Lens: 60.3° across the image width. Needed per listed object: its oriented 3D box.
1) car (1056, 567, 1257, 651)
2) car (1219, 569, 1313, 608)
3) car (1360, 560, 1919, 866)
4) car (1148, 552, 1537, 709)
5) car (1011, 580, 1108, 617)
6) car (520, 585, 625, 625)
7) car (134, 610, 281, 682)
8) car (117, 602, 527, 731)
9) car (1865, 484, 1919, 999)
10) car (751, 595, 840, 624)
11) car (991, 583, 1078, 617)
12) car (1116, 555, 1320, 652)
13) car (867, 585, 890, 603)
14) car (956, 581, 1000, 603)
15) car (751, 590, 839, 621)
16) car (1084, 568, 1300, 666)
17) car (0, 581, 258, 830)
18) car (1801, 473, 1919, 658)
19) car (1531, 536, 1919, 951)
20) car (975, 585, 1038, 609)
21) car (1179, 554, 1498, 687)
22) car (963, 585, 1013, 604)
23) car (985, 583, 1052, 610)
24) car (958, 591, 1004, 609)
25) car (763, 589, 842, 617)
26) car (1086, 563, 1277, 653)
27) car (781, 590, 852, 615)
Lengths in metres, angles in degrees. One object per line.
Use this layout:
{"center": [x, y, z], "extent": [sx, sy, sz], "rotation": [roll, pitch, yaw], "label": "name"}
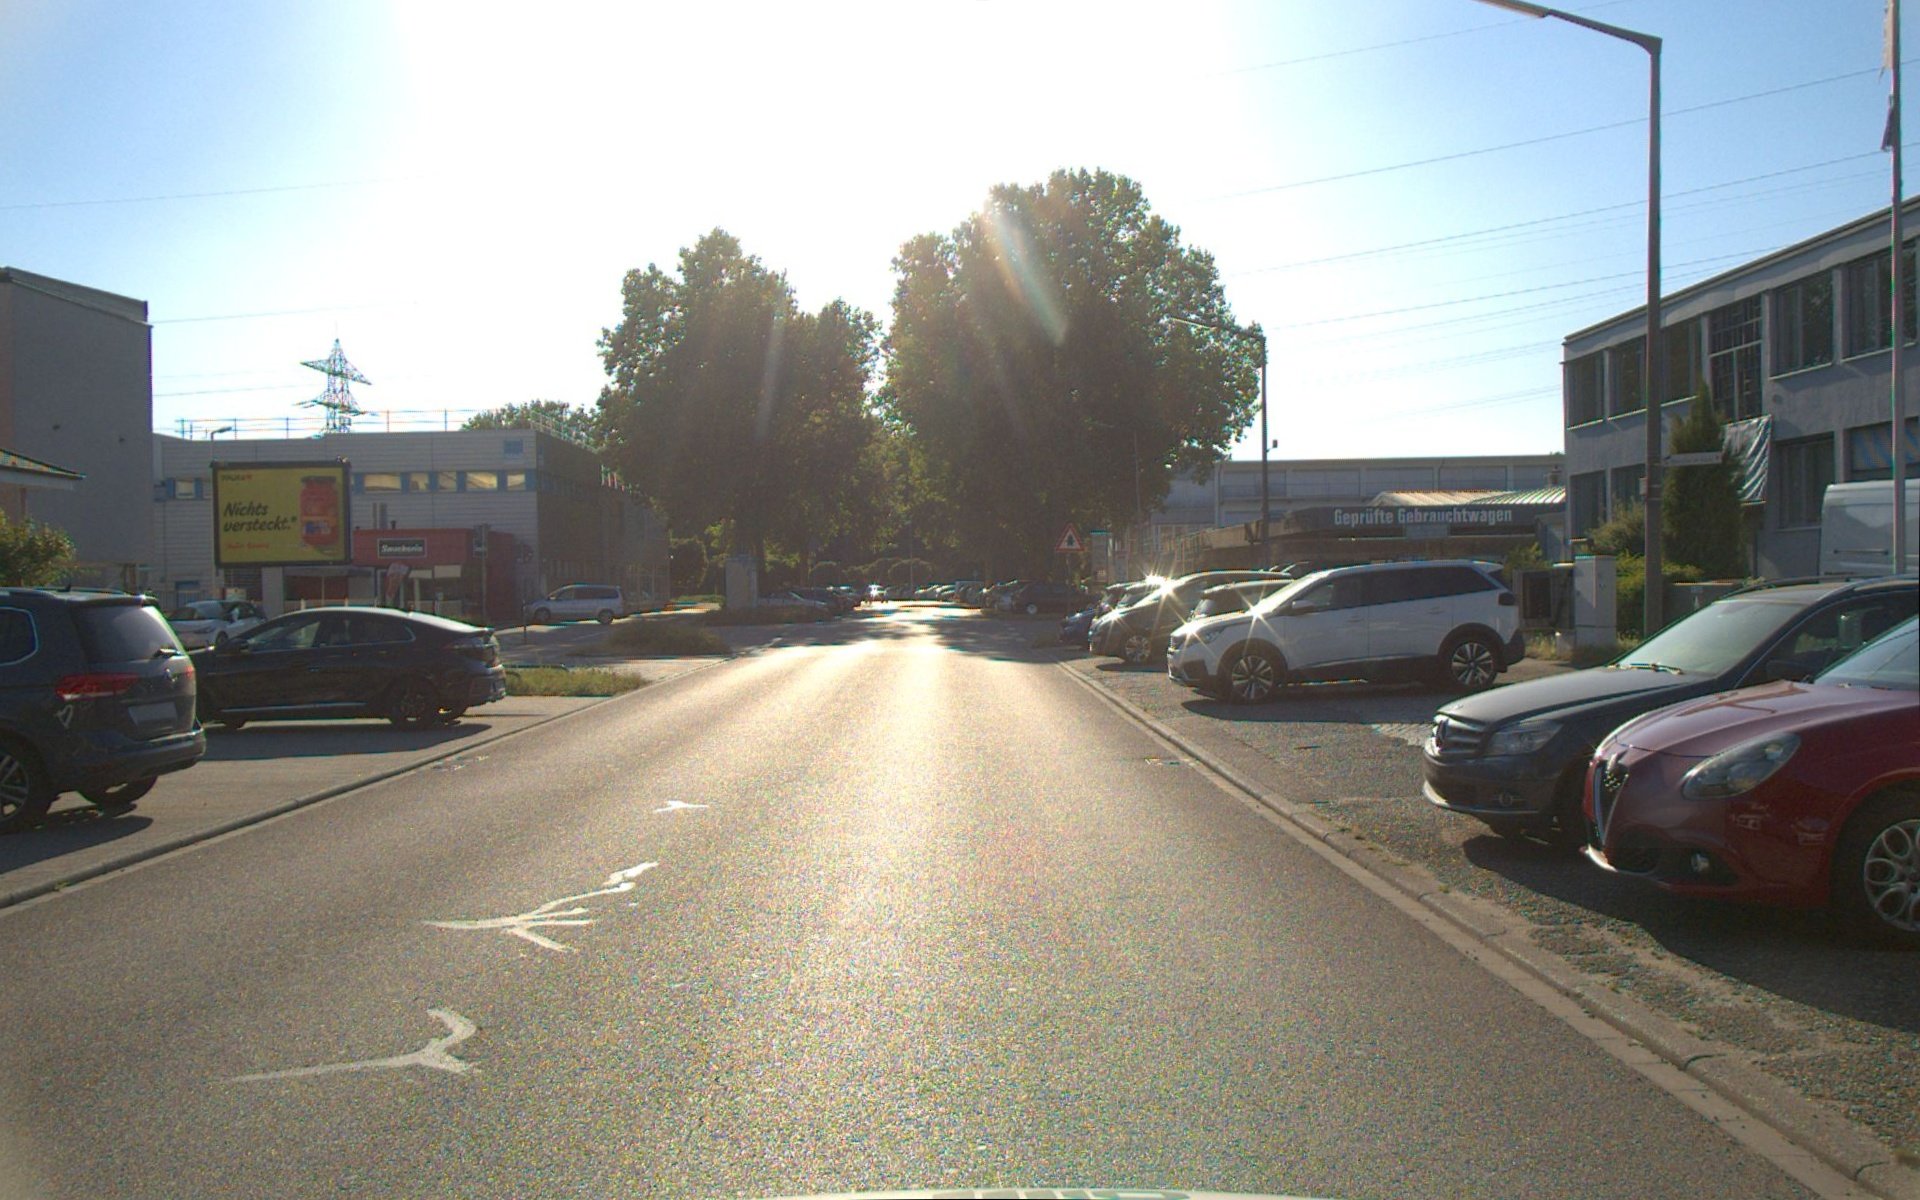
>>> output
{"center": [4.653, 0.202, 39.533], "extent": [4.435, 1.702, 1.752], "rotation": [-3, 0, -4], "label": "car"}
{"center": [14.000, -0.517, 75.729], "extent": [3.907, 1.730, 1.999], "rotation": [0, 0, -2], "label": "car"}
{"center": [4.852, 0.554, 9.859], "extent": [4.348, 1.461, 2.135], "rotation": [-3, 0, -2], "label": "car"}
{"center": [4.912, 0.369, 21.718], "extent": [4.465, 1.625, 2.200], "rotation": [-4, 0, -4], "label": "car"}
{"center": [4.166, -0.057, 69.751], "extent": [3.906, 1.440, 2.000], "rotation": [-2, 0, -1], "label": "car"}
{"center": [-17.644, 0.233, 75.224], "extent": [4.555, 1.771, 1.991], "rotation": [0, 0, -17], "label": "car"}
{"center": [-19.963, 1.170, 44.085], "extent": [1.953, 1.604, 4.341], "rotation": [0, 3, -1], "label": "car"}
{"center": [-7.710, 0.772, 20.387], "extent": [4.228, 1.485, 2.200], "rotation": [0, 0, -4], "label": "car"}
{"center": [5.354, 0.491, 5.228], "extent": [4.028, 1.770, 1.882], "rotation": [0, 0, -5], "label": "car"}
{"center": [-8.122, 0.468, 81.971], "extent": [4.330, 1.427, 1.997], "rotation": [0, 0, -6], "label": "car"}
{"center": [3.457, 0.001, 77.254], "extent": [3.906, 1.440, 1.826], "rotation": [-2, 0, -1], "label": "car"}
{"center": [5.377, 0.075, 34.821], "extent": [3.906, 1.681, 1.801], "rotation": [-5, 0, 0], "label": "car"}
{"center": [-7.506, -0.538, 152.843], "extent": [1.953, 1.637, 3.999], "rotation": [1, 0, -1], "label": "car"}
{"center": [1.628, -0.701, 148.673], "extent": [3.906, 1.808, 1.826], "rotation": [-2, 0, -1], "label": "car"}
{"center": [-8.370, 0.280, 84.176], "extent": [4.327, 1.543, 1.999], "rotation": [0, 0, -3], "label": "car"}
{"center": [4.407, 0.321, 31.742], "extent": [3.902, 1.641, 2.001], "rotation": [-3, 0, 6], "label": "car"}
{"center": [-7.720, 0.714, 12.218], "extent": [4.147, 1.684, 2.200], "rotation": [0, 0, -4], "label": "car"}
{"center": [14.781, -0.495, 24.018], "extent": [1.953, 2.671, 6.136], "rotation": [0, 0, -1], "label": "car"}
{"center": [4.984, 0.567, 7.566], "extent": [4.159, 1.633, 1.744], "rotation": [0, 0, -5], "label": "car"}
{"center": [2.917, -0.196, 104.105], "extent": [3.906, 1.405, 1.826], "rotation": [-2, 0, -1], "label": "car"}
{"center": [5.487, 0.285, 24.357], "extent": [4.163, 1.651, 1.920], "rotation": [-3, 0, -2], "label": "car"}
{"center": [2.234, -0.445, 132.710], "extent": [3.906, 1.440, 1.826], "rotation": [-2, 0, -1], "label": "car"}
{"center": [3.452, -0.202, 98.136], "extent": [3.906, 1.440, 1.826], "rotation": [-2, 0, -1], "label": "car"}
{"center": [1.802, -0.011, 144.673], "extent": [3.906, 1.440, 1.826], "rotation": [-2, 0, -1], "label": "car"}
{"center": [-8.978, 0.175, 94.660], "extent": [4.324, 1.543, 2.000], "rotation": [0, 0, 0], "label": "car"}
{"center": [4.906, 0.169, 36.983], "extent": [3.908, 1.681, 1.741], "rotation": [-4, 0, -3], "label": "car"}
{"center": [-9.106, 0.166, 105.404], "extent": [4.324, 1.543, 2.000], "rotation": [0, 0, 0], "label": "car"}
